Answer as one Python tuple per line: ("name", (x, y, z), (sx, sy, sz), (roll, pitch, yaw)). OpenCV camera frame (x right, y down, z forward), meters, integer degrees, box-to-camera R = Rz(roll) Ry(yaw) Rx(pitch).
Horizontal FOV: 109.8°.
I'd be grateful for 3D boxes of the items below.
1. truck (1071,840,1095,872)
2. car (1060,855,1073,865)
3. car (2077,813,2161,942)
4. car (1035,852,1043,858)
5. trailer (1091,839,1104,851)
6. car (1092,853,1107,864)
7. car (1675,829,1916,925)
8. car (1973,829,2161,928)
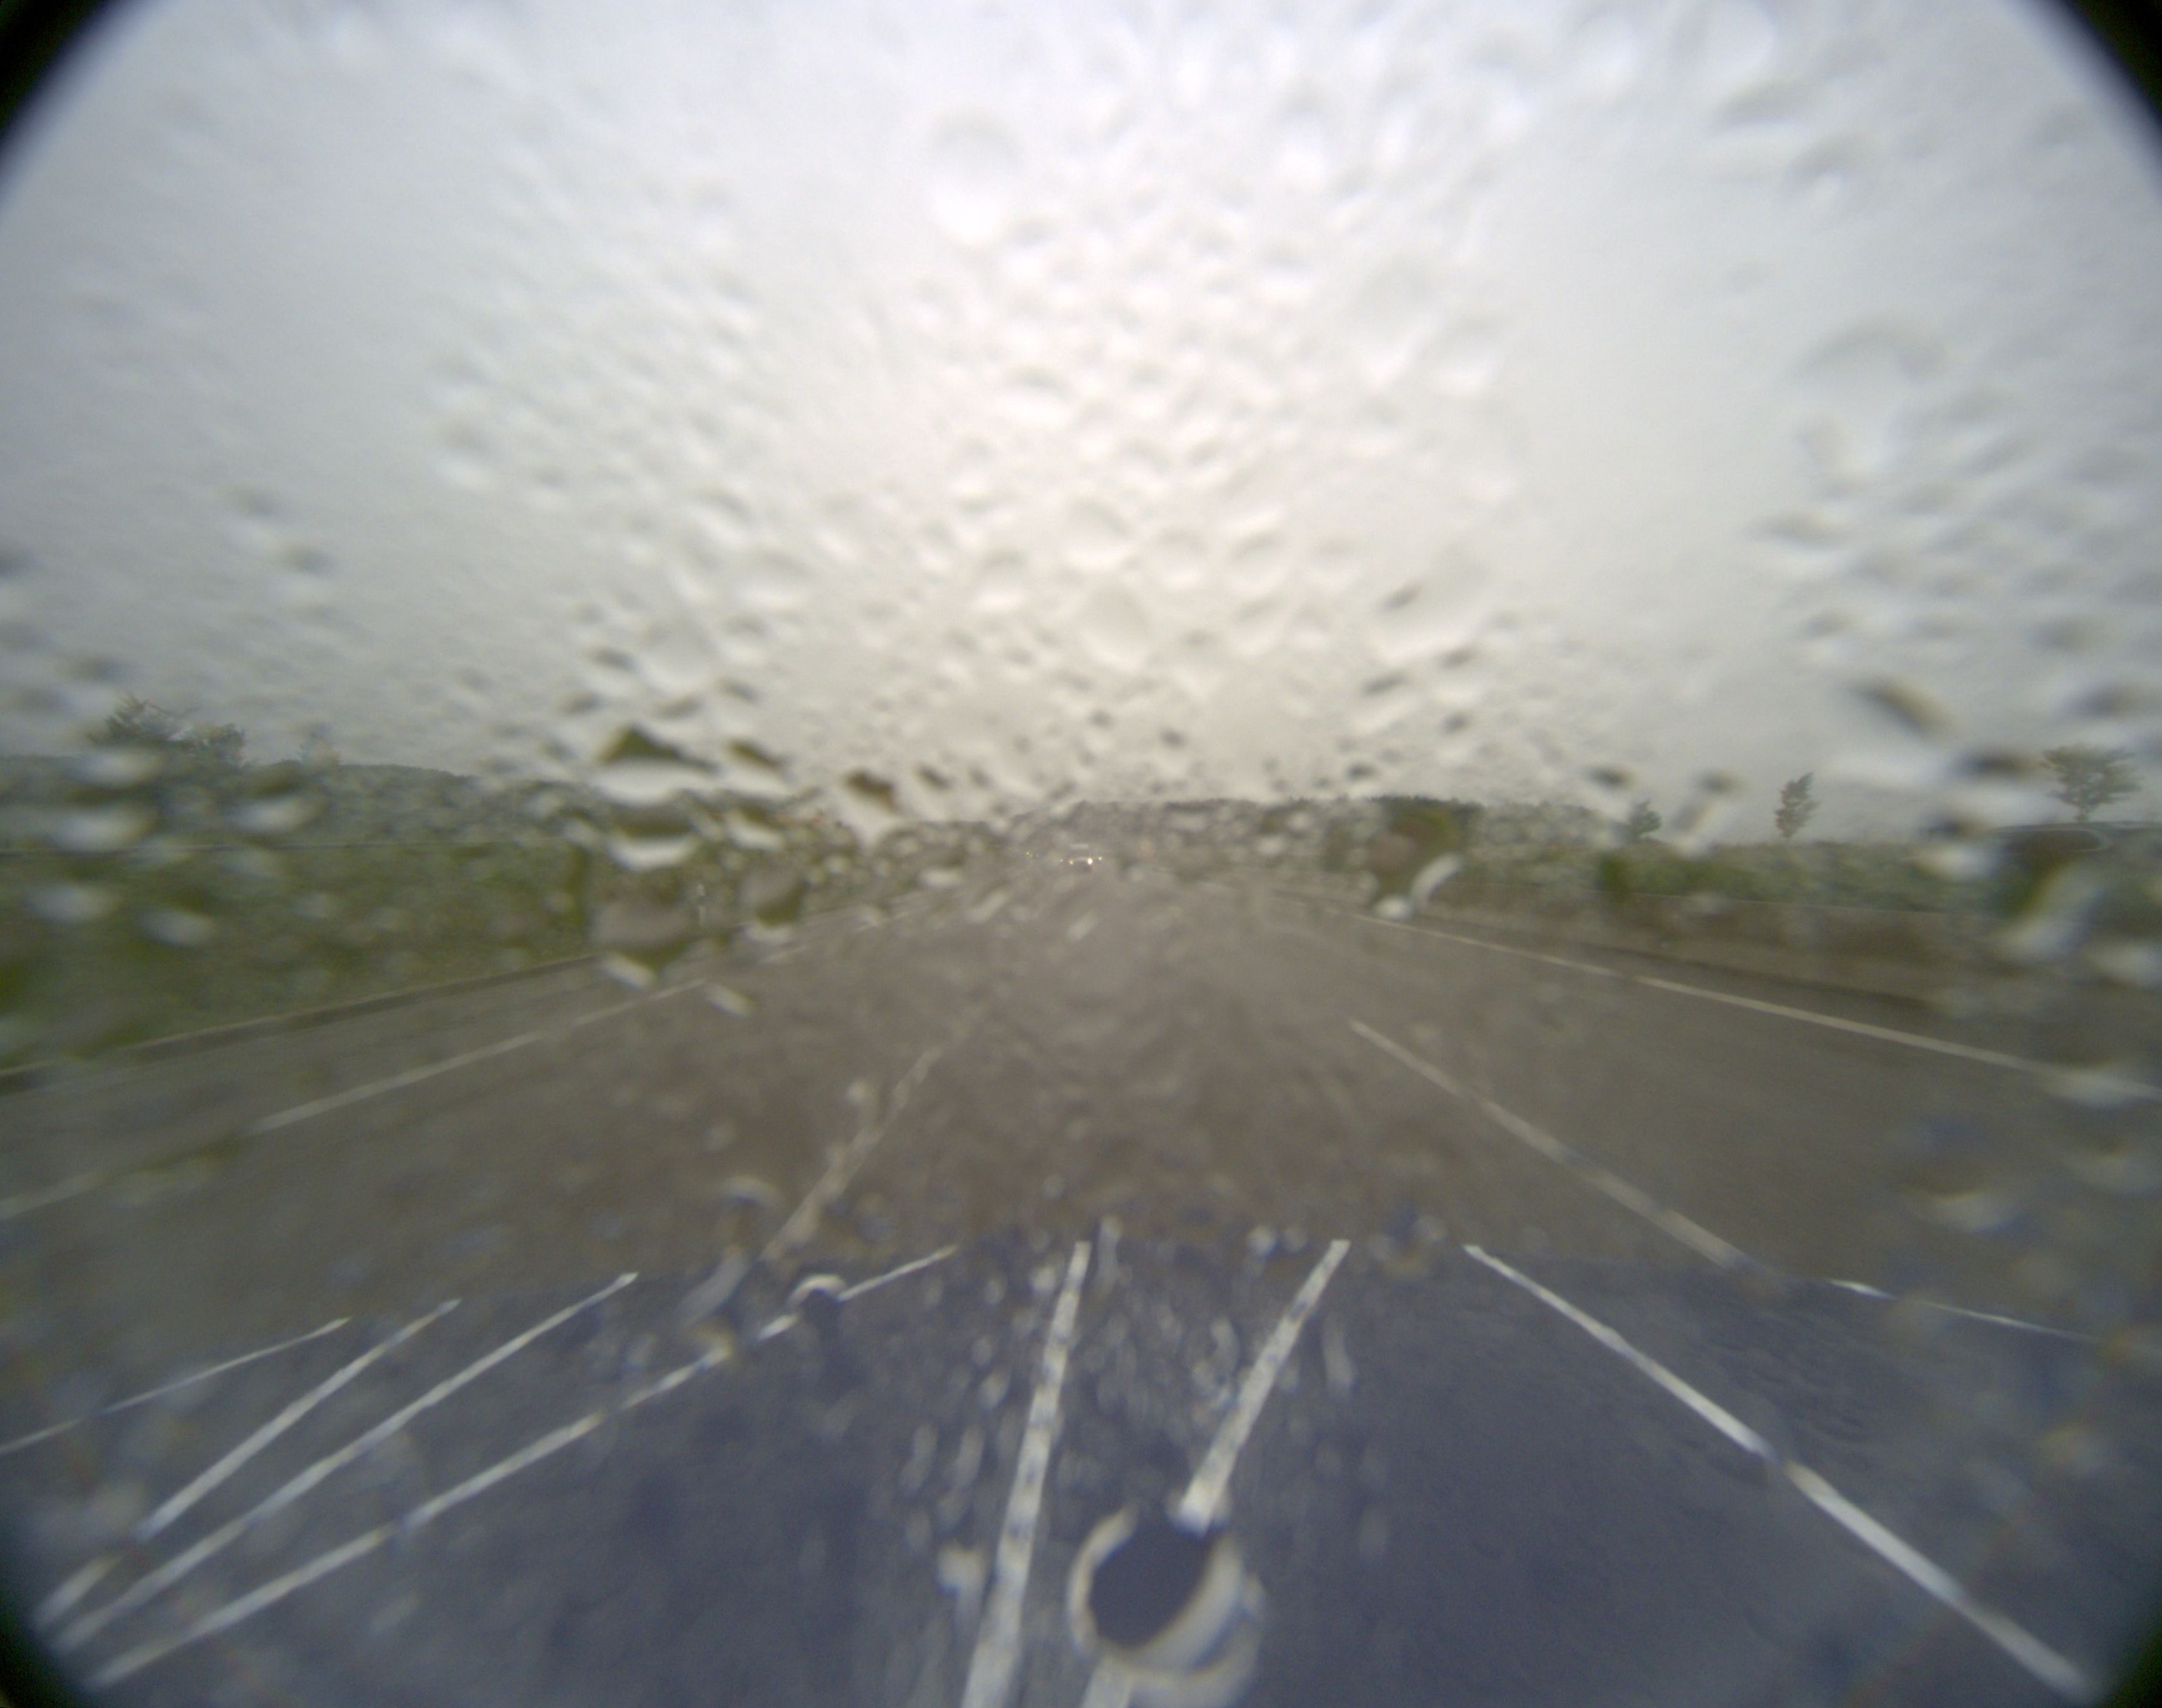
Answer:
("truck", (0.218, 0.088, 70.421), (1.998, 2.699, 7.998), (-2, 1, 1))
("car", (-2.300, 0.909, 121.022), (1.999, 1.521, 3.999), (-2, 0, -2))
("car", (12.291, 0.260, 7.563), (1.126, 1.389, 2.784), (-2, 1, 1))
("car", (-11.614, 0.280, 209.048), (1.999, 1.543, 3.998), (-2, 0, -5))
("trailer", (5.641, -3.214, 263.957), (3.395, 3.995, 13.883), (-1, 0, -3))
("car", (2.826, 0.707, 114.356), (1.999, 1.608, 3.999), (-2, 0, -2))
("car", (12.889, 0.372, 13.977), (1.448, 1.516, 3.172), (-2, 0, 0))
("car", (19.636, 0.412, 14.497), (1.499, 1.717, 3.172), (-2, 0, 0))
